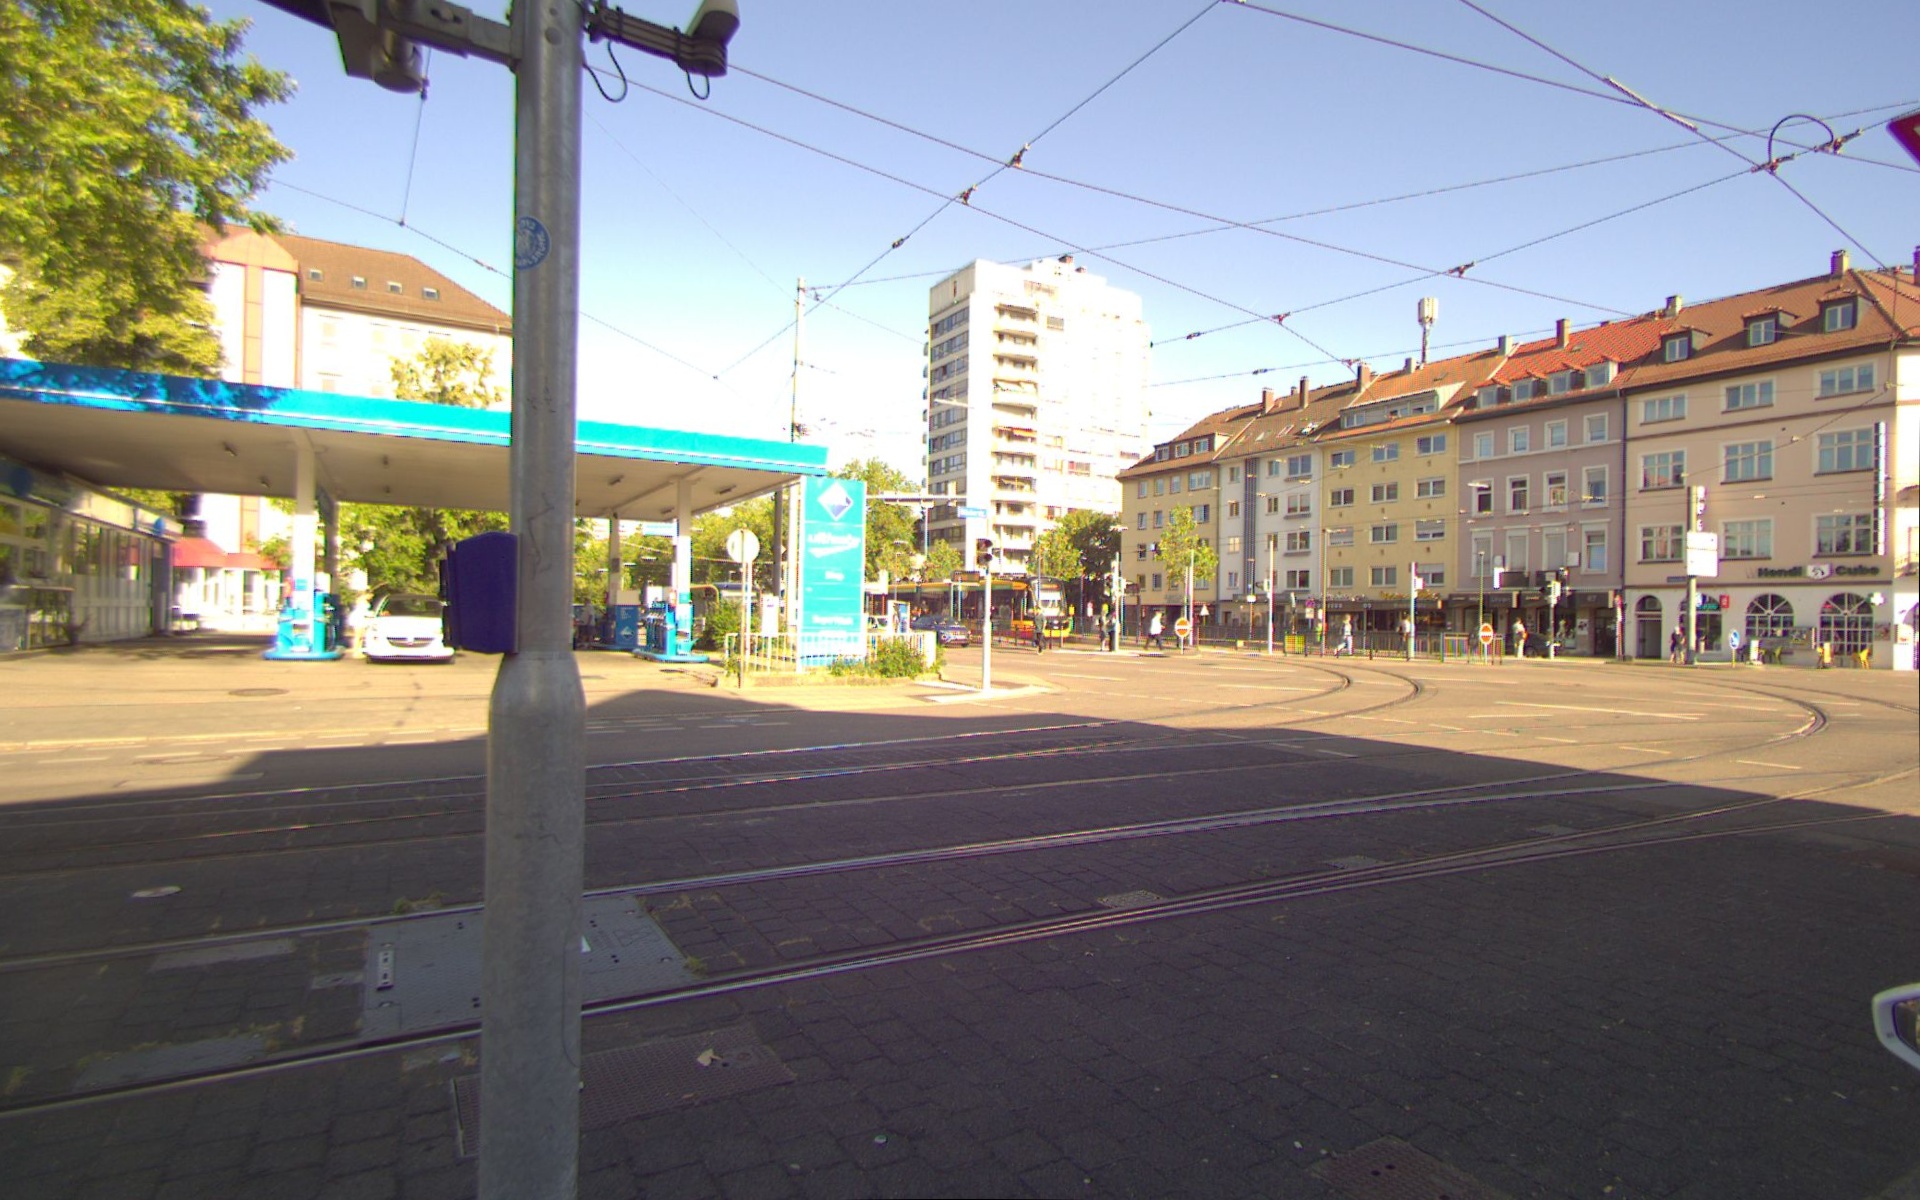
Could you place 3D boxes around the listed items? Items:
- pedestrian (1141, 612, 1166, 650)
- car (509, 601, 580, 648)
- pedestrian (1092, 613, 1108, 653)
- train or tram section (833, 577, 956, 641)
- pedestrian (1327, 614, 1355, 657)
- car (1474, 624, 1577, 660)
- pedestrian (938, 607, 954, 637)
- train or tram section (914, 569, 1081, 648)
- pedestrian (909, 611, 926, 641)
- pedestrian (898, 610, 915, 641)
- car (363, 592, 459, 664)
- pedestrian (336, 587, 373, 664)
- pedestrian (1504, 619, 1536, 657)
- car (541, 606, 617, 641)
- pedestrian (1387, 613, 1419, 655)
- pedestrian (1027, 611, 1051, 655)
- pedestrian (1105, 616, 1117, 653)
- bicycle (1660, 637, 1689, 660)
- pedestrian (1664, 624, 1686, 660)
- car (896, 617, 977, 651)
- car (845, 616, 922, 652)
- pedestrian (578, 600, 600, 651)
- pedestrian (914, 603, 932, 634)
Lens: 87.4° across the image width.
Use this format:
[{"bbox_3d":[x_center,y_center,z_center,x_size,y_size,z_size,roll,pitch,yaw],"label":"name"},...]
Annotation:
[{"bbox_3d":[8.438,1.349,43.810,0.867,1.598,0.665,2,0,-2],"label":"pedestrian"},{"bbox_3d":[-13.551,0.781,32.681,1.737,1.461,3.543,1,-1,-29],"label":"car"},{"bbox_3d":[5.853,1.391,41.969,0.626,1.666,0.462,0,0,6],"label":"pedestrian"},{"bbox_3d":[-4.636,0.606,67.081,2.907,3.864,12.719,1,-1,-30],"label":"train or tram section"},{"bbox_3d":[14.644,1.360,38.618,0.817,1.598,0.552,2,0,-2],"label":"pedestrian"},{"bbox_3d":[30.822,2.290,54.849,2.277,1.734,4.350,2,0,-27],"label":"car"},{"bbox_3d":[-0.776,1.215,55.612,0.607,1.598,0.827,0,0,-27],"label":"pedestrian"},{"bbox_3d":[1.674,0.495,55.979,2.907,3.864,12.950,1,-1,-30],"label":"train or tram section"},{"bbox_3d":[-2.491,1.495,58.561,0.747,1.756,0.797,0,0,-28],"label":"pedestrian"},{"bbox_3d":[-3.126,1.475,58.336,0.747,1.756,0.797,0,0,-28],"label":"pedestrian"},{"bbox_3d":[-12.200,0.602,22.354,1.737,1.461,3.543,1,-1,-29],"label":"car"},{"bbox_3d":[-13.930,0.586,23.117,0.640,1.724,0.497,1,-1,-26],"label":"pedestrian"},{"bbox_3d":[24.508,1.670,43.962,0.821,1.598,0.847,2,0,-20],"label":"pedestrian"},{"bbox_3d":[-16.864,1.040,44.606,1.722,1.461,3.572,1,-1,5],"label":"car"},{"bbox_3d":[17.343,1.316,39.323,0.821,1.598,0.724,2,0,-20],"label":"pedestrian"},{"bbox_3d":[3.152,1.312,40.014,0.752,1.702,0.555,1,-1,-33],"label":"pedestrian"},{"bbox_3d":[6.150,1.404,40.970,0.472,1.525,0.462,0,0,6],"label":"pedestrian"},{"bbox_3d":[34.130,2.317,47.968,1.479,1.091,0.570,2,0,-30],"label":"bicycle"},{"bbox_3d":[34.141,2.023,47.966,0.743,1.692,0.579,2,0,-30],"label":"pedestrian"},{"bbox_3d":[-1.163,1.615,48.371,1.875,1.550,3.955,1,-2,-39],"label":"car"},{"bbox_3d":[-3.590,1.551,46.741,1.871,1.550,3.963,1,-1,-33],"label":"car"},{"bbox_3d":[-12.705,0.857,34.383,0.491,1.724,0.499,0,-1,33],"label":"pedestrian"},{"bbox_3d":[-2.075,1.048,56.730,0.747,1.756,0.797,0,0,-28],"label":"pedestrian"}]
